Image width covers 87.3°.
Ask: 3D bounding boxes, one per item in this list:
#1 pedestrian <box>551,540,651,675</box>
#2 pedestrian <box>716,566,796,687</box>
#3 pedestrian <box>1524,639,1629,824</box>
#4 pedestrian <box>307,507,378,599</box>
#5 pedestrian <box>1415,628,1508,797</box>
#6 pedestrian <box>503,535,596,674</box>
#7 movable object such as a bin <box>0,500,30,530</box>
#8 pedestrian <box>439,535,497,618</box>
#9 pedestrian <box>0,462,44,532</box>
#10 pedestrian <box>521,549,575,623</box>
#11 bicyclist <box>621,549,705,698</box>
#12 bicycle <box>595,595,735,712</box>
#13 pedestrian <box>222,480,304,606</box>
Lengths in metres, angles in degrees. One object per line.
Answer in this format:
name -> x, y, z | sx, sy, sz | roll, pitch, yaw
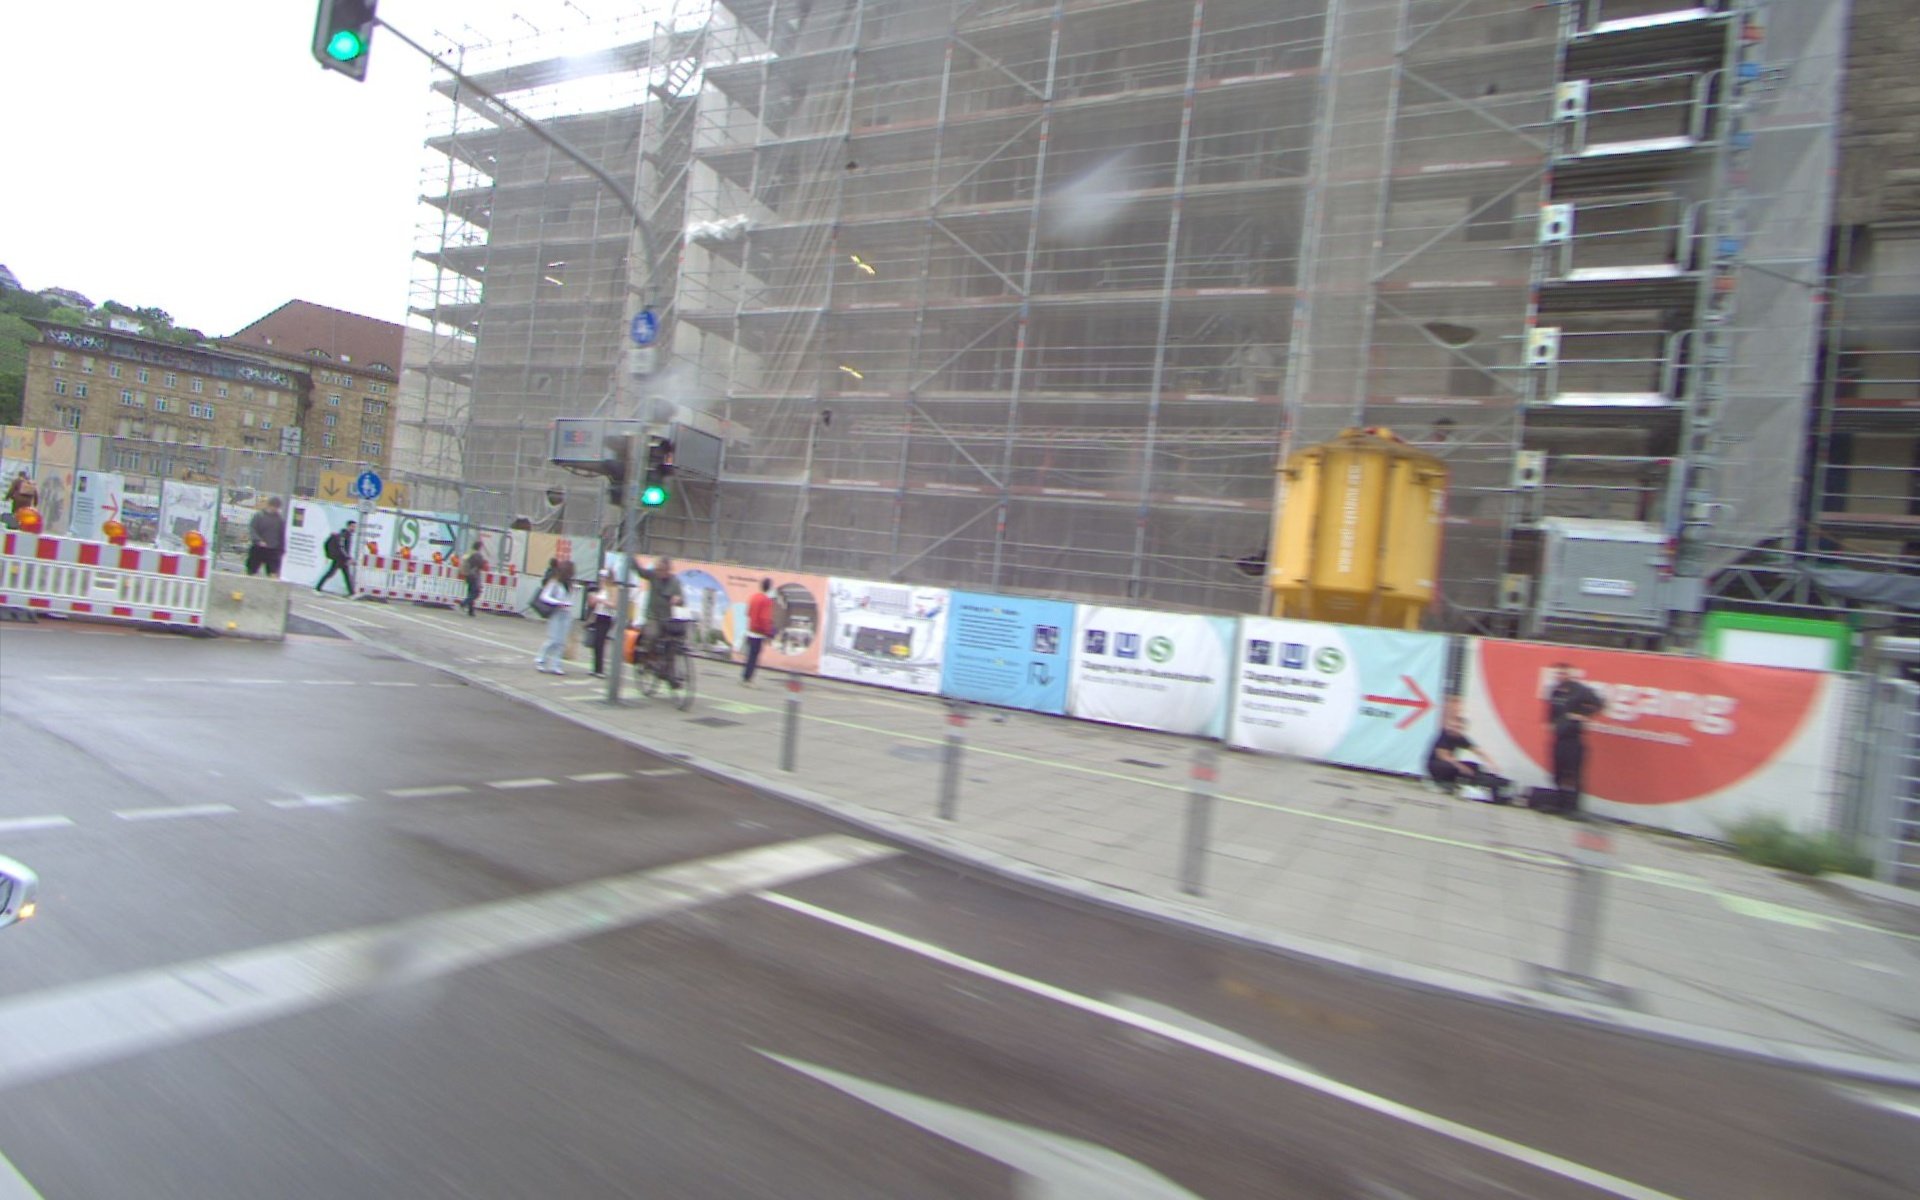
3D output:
pedestrian -> -5.076, 0.114, 14.240 | 0.867, 1.778, 0.814 | 7, 1, 33
pedestrian -> -3.141, 0.418, 15.504 | 0.731, 1.749, 0.712 | 7, 1, 33
pedestrian -> 7.201, 1.513, 11.781 | 0.568, 2.039, 0.627 | 7, 1, -4
pedestrian -> -13.548, -1.030, 22.090 | 0.984, 1.872, 0.676 | 7, 1, 9
pedestrian -> 6.409, 1.433, 12.859 | 0.636, 2.039, 0.621 | 6, 1, -37
pedestrian -> -5.599, 0.054, 13.746 | 0.789, 1.779, 0.815 | 4, 2, 9
movable object such as a bin -> -27.594, -2.479, 29.243 | 0.765, 0.743, 0.597 | 7, 1, 34
pedestrian -> -11.274, -0.536, 23.045 | 0.638, 1.778, 0.815 | 7, 1, 27
pedestrian -> -27.656, -3.016, 29.592 | 0.643, 1.919, 0.767 | 8, 1, 33
pedestrian -> -10.699, -0.360, 26.136 | 0.792, 1.778, 0.814 | 7, 1, 33
bicyclist -> -3.603, 0.288, 12.215 | 0.692, 1.726, 0.428 | 6, 1, -44
bicycle -> -3.603, 0.619, 12.179 | 0.751, 1.148, 1.968 | 6, 1, -42
pedestrian -> -12.260, -0.996, 17.686 | 0.852, 2.038, 0.786 | 11, 4, 38
